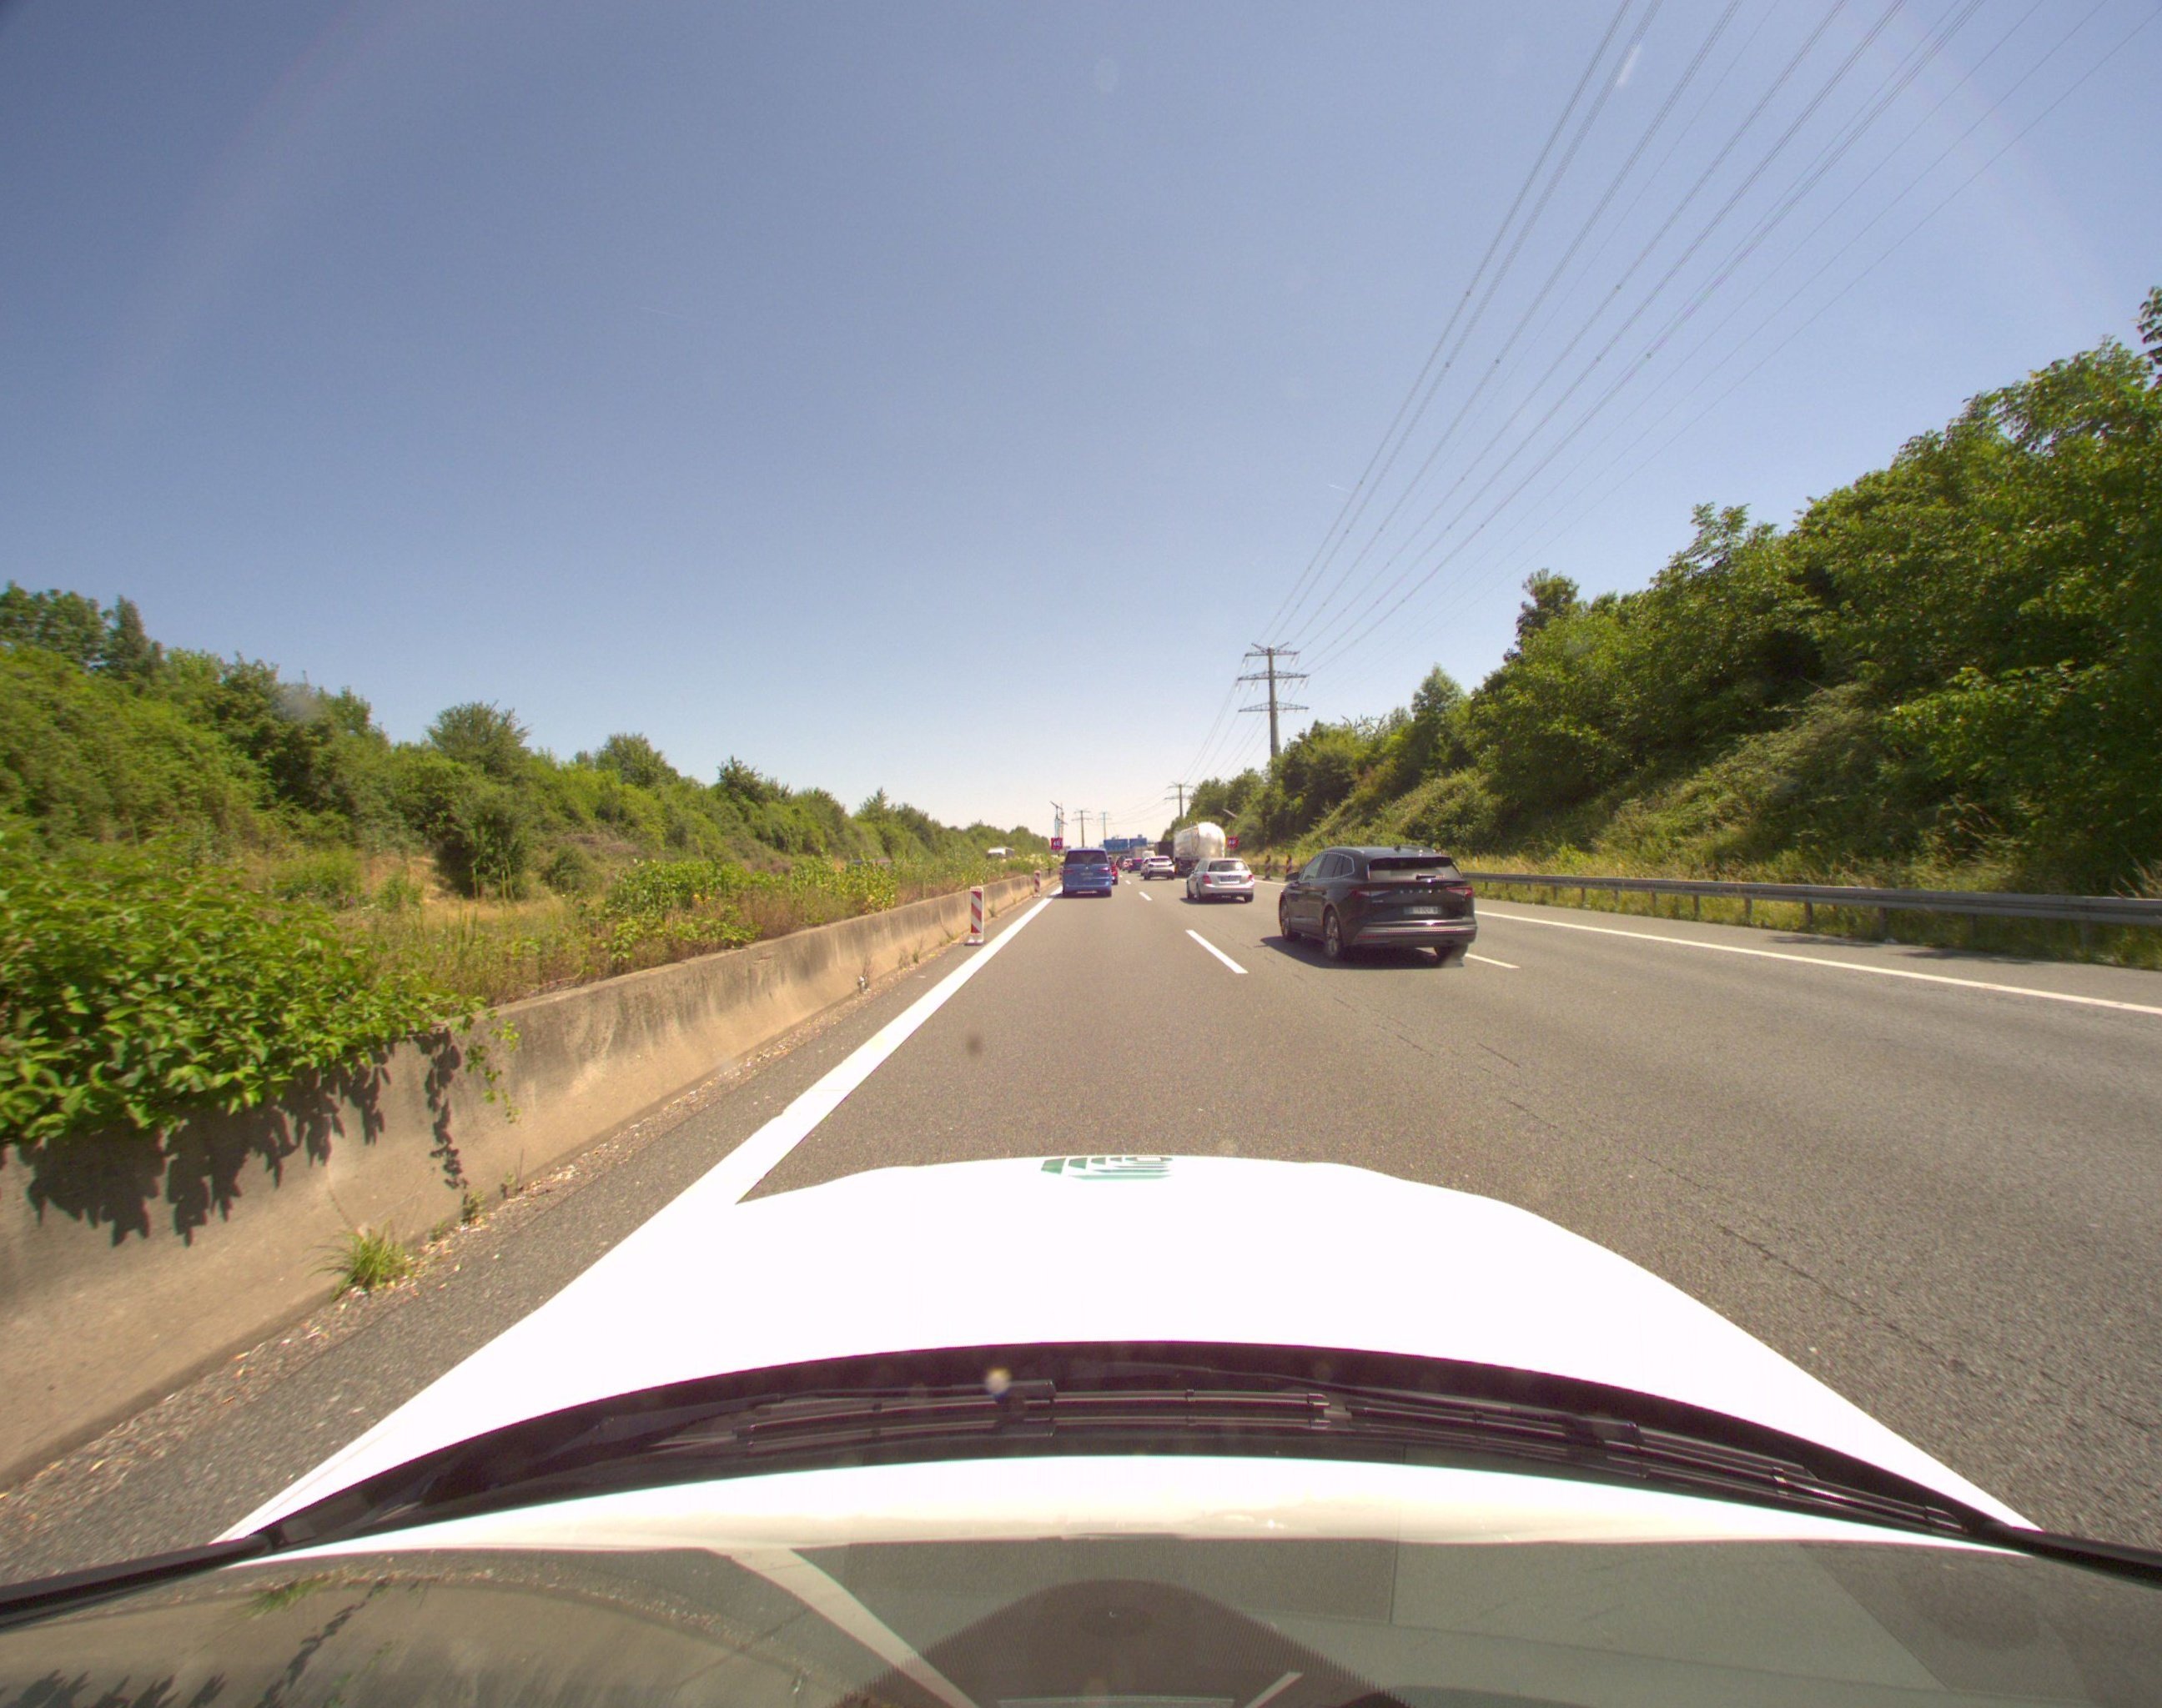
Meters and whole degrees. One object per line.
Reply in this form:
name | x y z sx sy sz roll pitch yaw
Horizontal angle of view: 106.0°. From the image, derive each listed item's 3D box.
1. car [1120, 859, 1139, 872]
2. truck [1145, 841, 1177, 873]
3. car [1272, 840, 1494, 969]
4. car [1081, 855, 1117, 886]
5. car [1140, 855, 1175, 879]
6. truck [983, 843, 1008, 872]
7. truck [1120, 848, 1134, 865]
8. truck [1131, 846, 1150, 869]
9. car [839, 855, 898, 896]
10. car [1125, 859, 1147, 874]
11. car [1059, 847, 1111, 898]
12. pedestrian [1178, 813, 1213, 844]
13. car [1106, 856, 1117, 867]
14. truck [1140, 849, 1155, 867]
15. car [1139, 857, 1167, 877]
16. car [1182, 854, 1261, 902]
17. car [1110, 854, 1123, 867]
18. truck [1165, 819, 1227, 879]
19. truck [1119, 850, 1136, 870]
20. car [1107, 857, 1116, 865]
car | 5.724 1.326 96.244 1.903 1.516 4.382 0 0 -1
truck | 9.353 0.404 96.462 2.636 3.539 12.550 0 0 0
car | 4.362 0.652 12.583 1.822 1.614 4.431 -1 0 0
car | 0.964 0.897 45.628 1.902 1.631 4.383 -1 -1 0
car | 4.977 0.841 53.318 1.903 1.508 3.920 0 0 -1
truck | -13.047 0.597 125.302 2.742 4.166 6.411 -5 -1 1
truck | 12.056 0.638 213.571 2.928 4.291 12.550 0 0 0
truck | 11.648 0.755 160.761 2.928 4.291 12.550 0 0 0
car | -11.727 1.140 45.248 1.987 2.096 4.606 -3 0 0
car | 5.471 1.228 81.109 1.903 1.516 4.382 0 0 -1
car | 0.098 0.696 32.369 1.866 1.879 4.379 0 -1 -2
pedestrian | 8.042 -1.756 57.536 1.986 2.014 4.001 0 -1 2
car | 5.832 1.416 154.445 1.986 2.014 4.001 0 -1 2
truck | 10.703 0.668 130.757 1.987 2.724 5.679 0 -1 0
car | 5.894 1.072 66.835 1.903 1.569 4.382 0 0 -1
car | 4.569 0.752 27.104 1.815 1.437 4.382 0 0 -1
car | 5.710 1.037 131.902 1.987 2.014 4.000 0 -1 0
truck | 8.684 -0.293 63.700 2.636 4.072 16.439 0 0 0
truck | 6.175 0.808 109.410 1.987 2.724 5.679 0 -1 0
car | 7.220 1.629 192.069 1.987 2.014 4.000 0 -1 0
